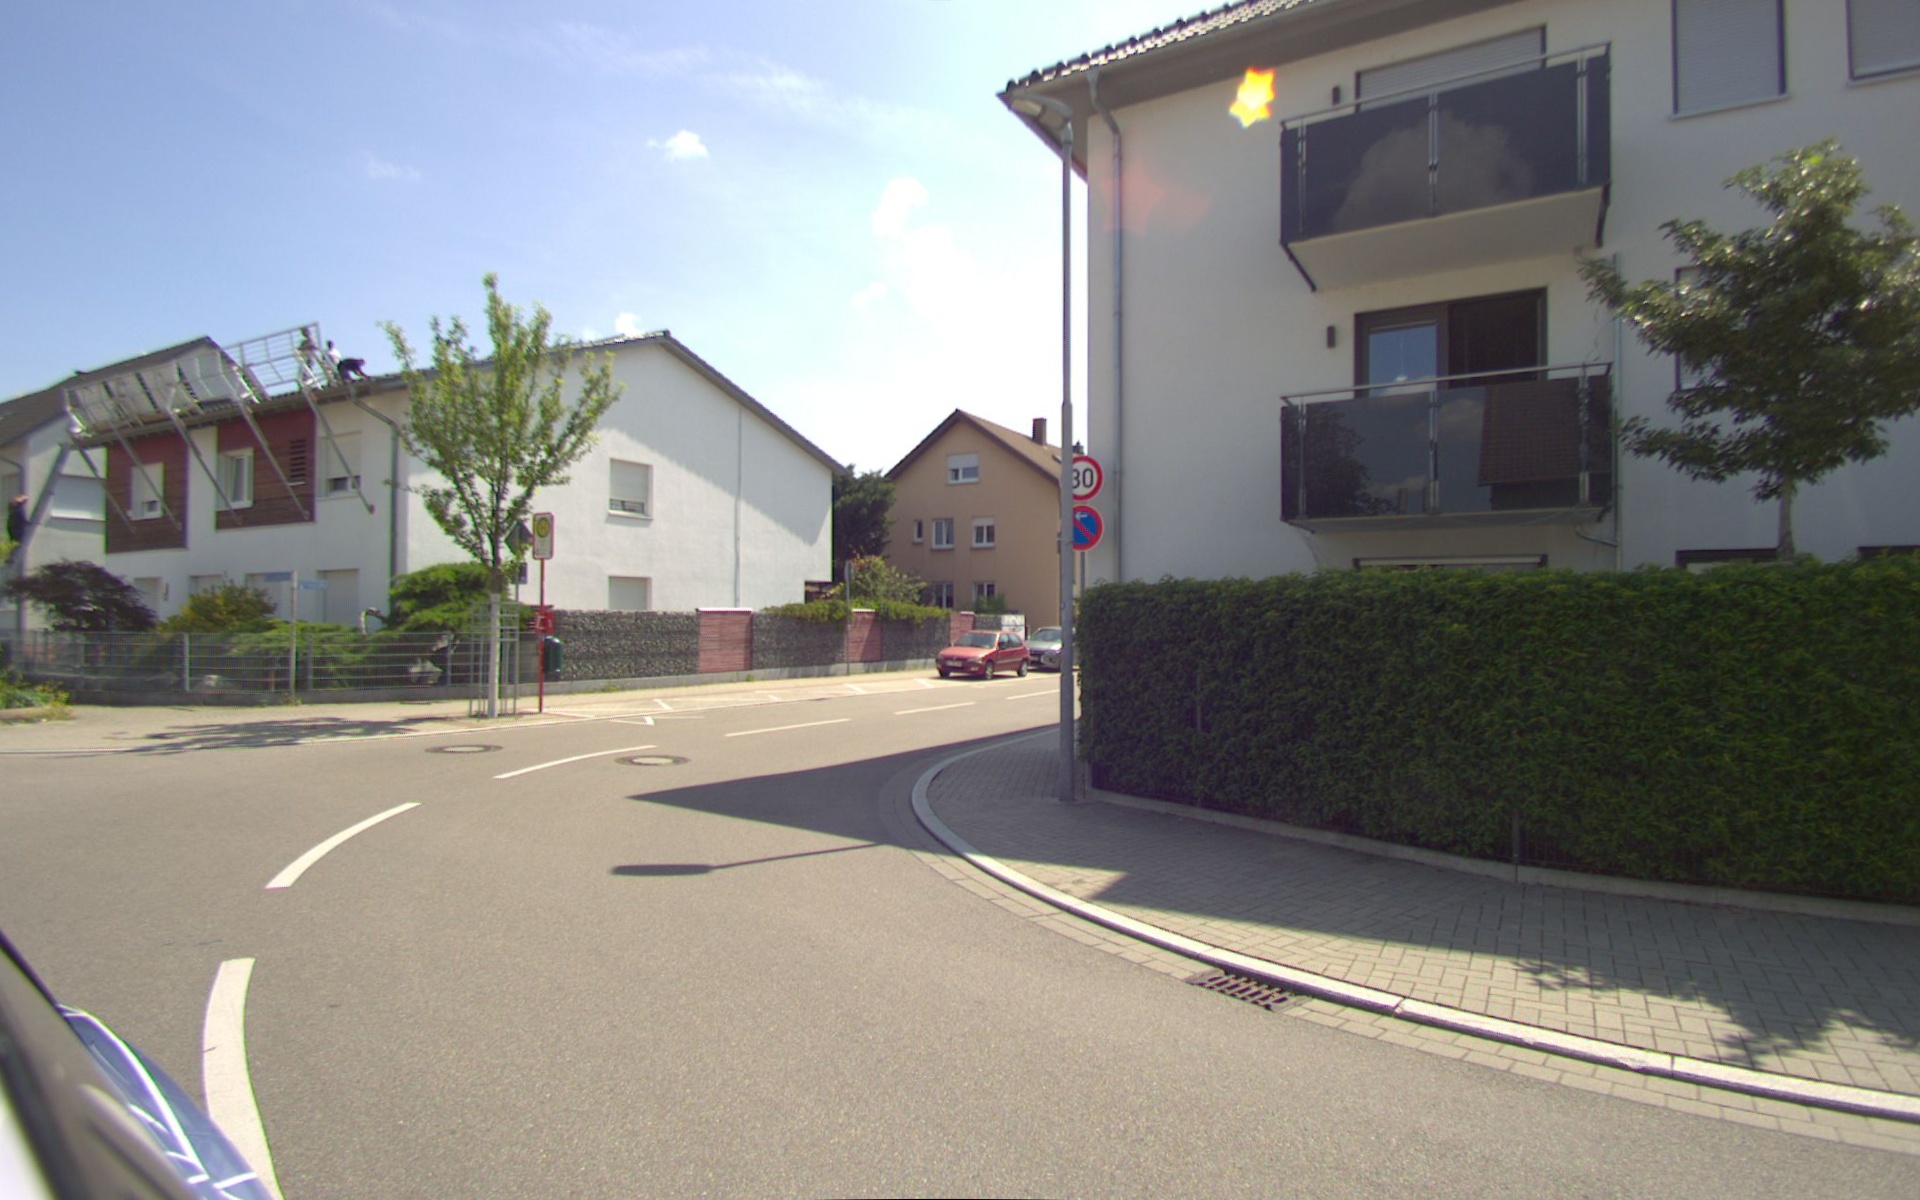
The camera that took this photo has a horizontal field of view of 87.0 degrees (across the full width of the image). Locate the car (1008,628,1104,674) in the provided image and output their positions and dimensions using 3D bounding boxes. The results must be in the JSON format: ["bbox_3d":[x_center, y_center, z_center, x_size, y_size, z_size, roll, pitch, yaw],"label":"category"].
[{"bbox_3d":[3.333,1.714,34.553,1.715,1.409,3.958,1,-1,31],"label":"car"}]

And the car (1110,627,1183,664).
[{"bbox_3d":[7.876,1.884,42.478,1.715,1.409,3.958,1,-1,31],"label":"car"}]

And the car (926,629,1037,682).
[{"bbox_3d":[0.693,1.584,29.794,1.715,1.409,3.639,1,-1,31],"label":"car"}]
